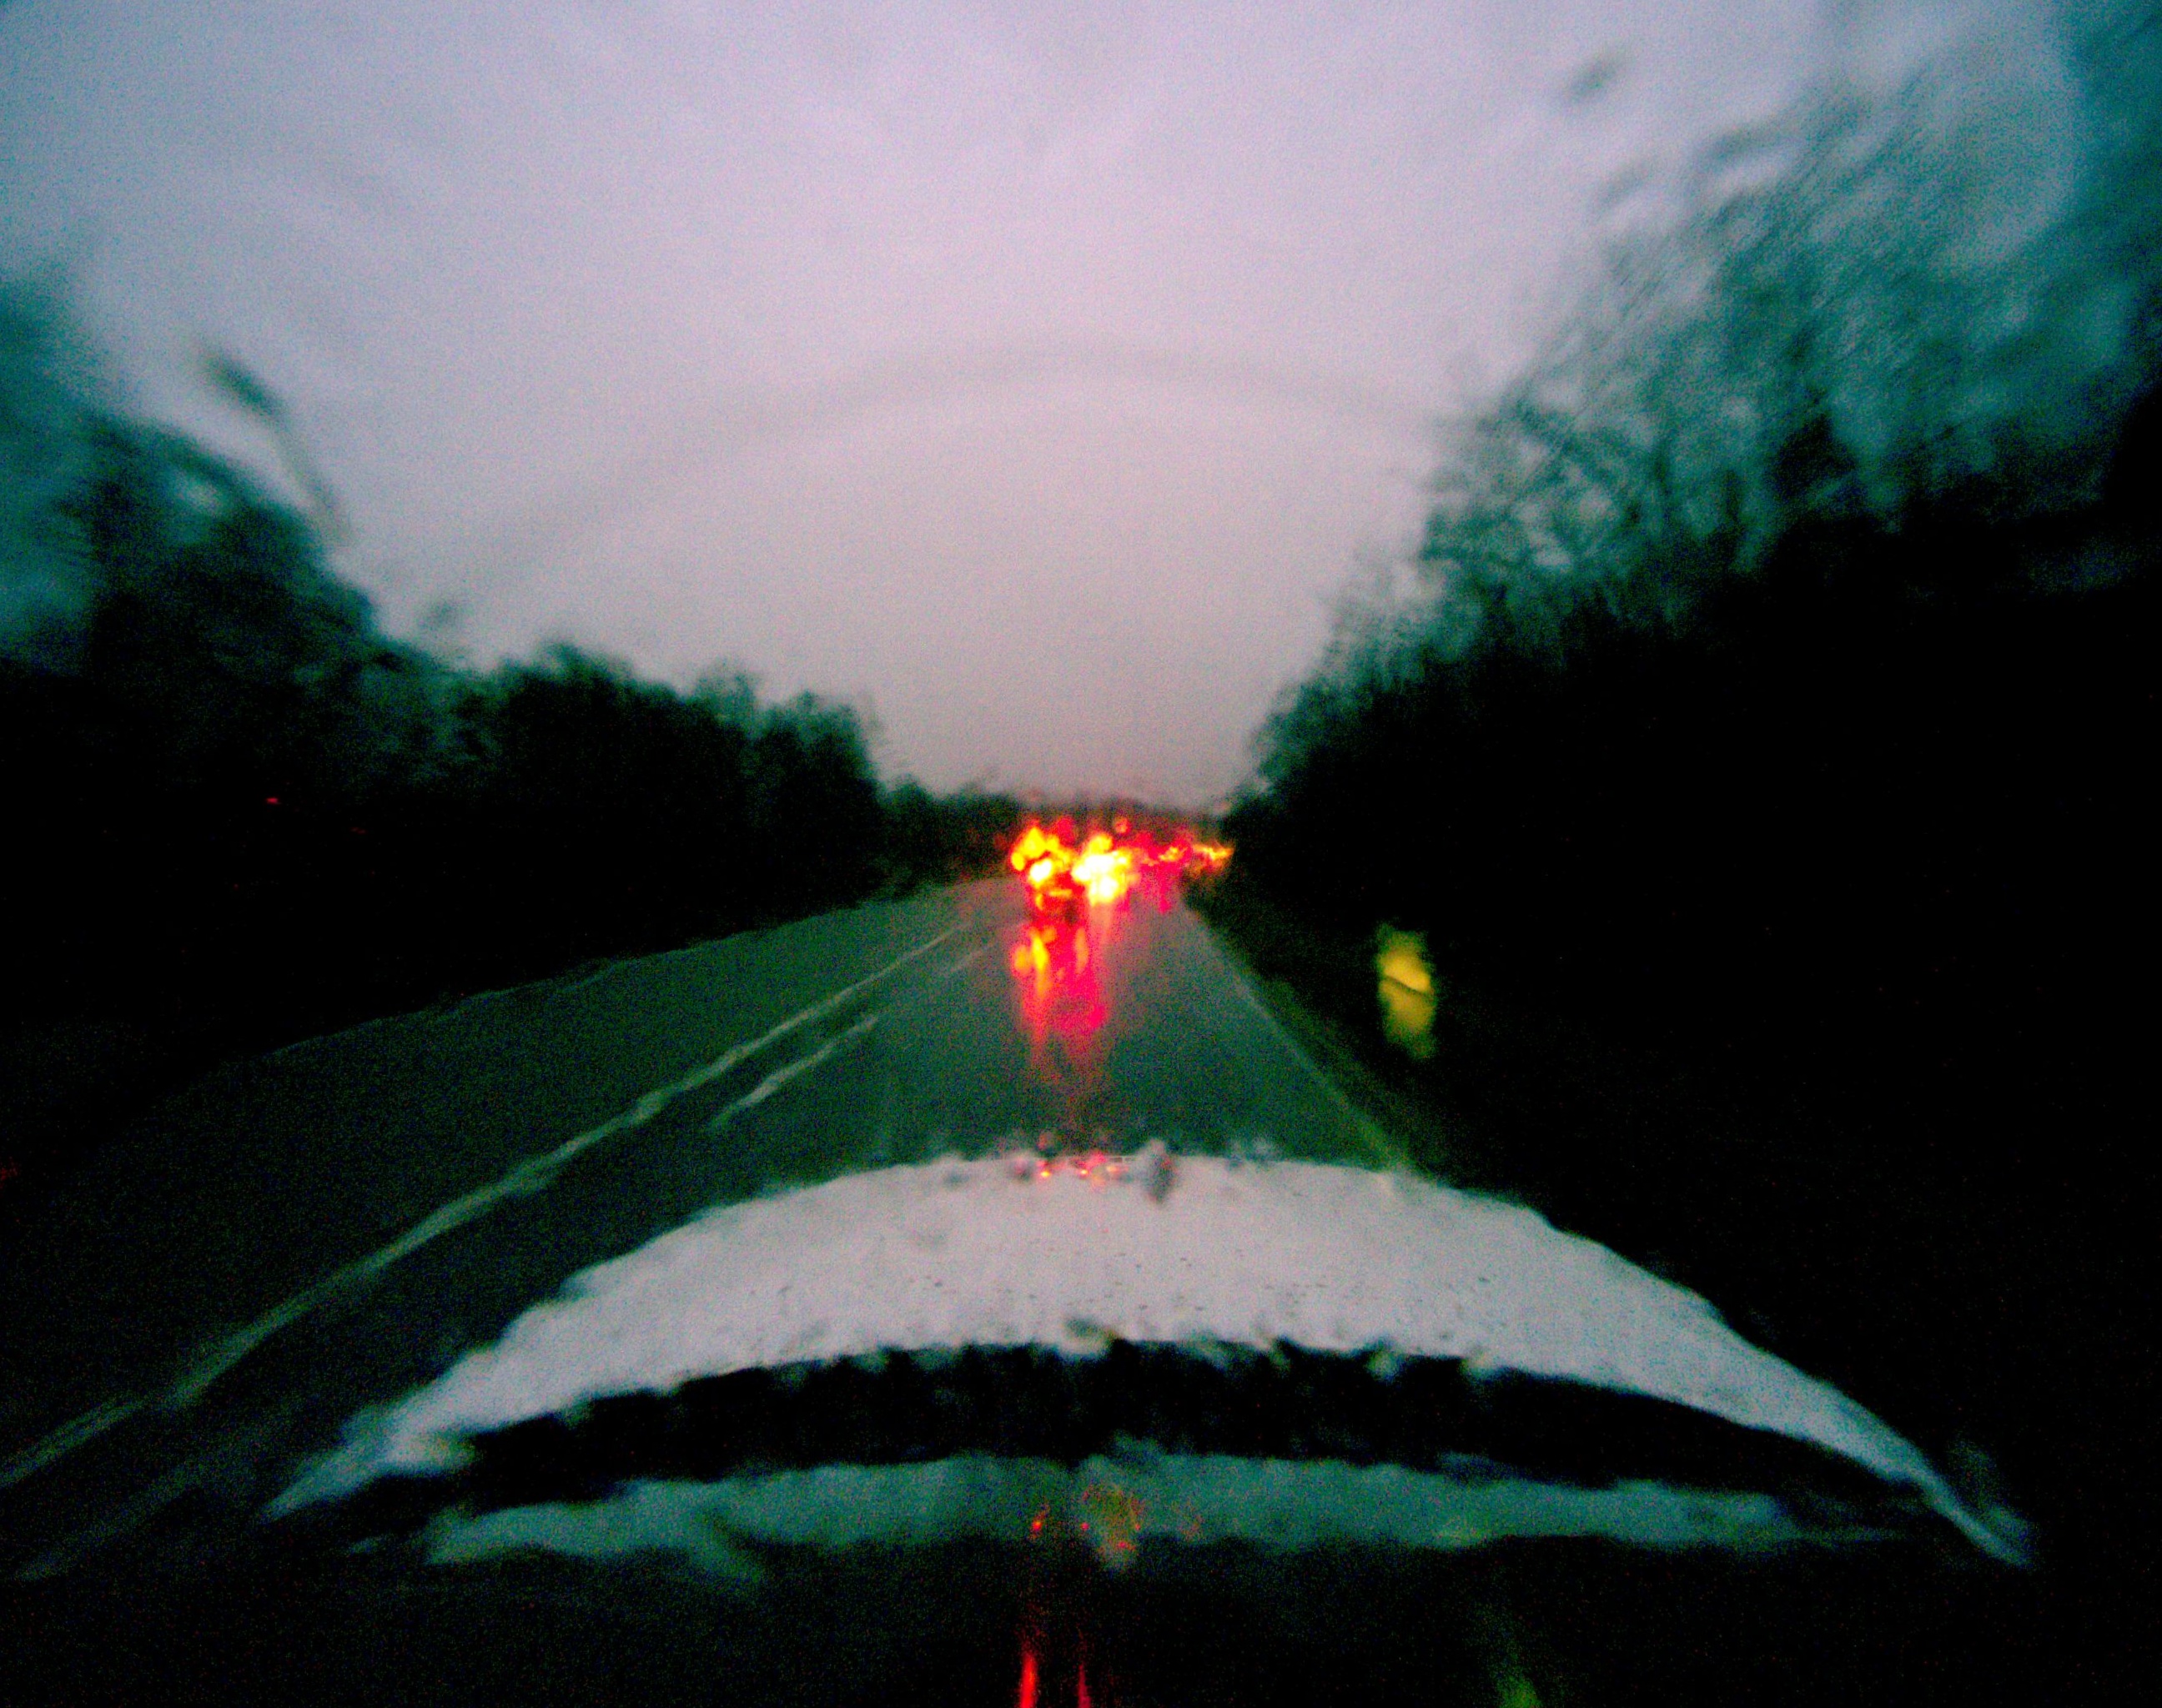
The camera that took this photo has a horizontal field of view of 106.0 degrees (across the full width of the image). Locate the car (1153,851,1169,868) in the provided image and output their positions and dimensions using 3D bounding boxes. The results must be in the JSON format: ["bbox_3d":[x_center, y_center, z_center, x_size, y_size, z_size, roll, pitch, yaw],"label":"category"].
[{"bbox_3d":[8.439,0.521,85.812,1.670,1.675,4.105,-1,1,6],"label":"car"}]

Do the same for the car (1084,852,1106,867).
[{"bbox_3d":[1.617,0.600,91.882,1.983,1.648,4.731,0,0,6],"label":"car"}]

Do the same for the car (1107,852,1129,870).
[{"bbox_3d":[3.389,0.635,75.219,1.997,1.556,4.520,1,1,2],"label":"car"}]

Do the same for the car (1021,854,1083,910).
[{"bbox_3d":[-0.774,0.742,23.832,1.627,1.421,4.171,1,0,0],"label":"car"}]

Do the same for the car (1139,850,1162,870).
[{"bbox_3d":[5.096,0.428,59.940,1.671,1.389,4.103,-1,1,4],"label":"car"}]
